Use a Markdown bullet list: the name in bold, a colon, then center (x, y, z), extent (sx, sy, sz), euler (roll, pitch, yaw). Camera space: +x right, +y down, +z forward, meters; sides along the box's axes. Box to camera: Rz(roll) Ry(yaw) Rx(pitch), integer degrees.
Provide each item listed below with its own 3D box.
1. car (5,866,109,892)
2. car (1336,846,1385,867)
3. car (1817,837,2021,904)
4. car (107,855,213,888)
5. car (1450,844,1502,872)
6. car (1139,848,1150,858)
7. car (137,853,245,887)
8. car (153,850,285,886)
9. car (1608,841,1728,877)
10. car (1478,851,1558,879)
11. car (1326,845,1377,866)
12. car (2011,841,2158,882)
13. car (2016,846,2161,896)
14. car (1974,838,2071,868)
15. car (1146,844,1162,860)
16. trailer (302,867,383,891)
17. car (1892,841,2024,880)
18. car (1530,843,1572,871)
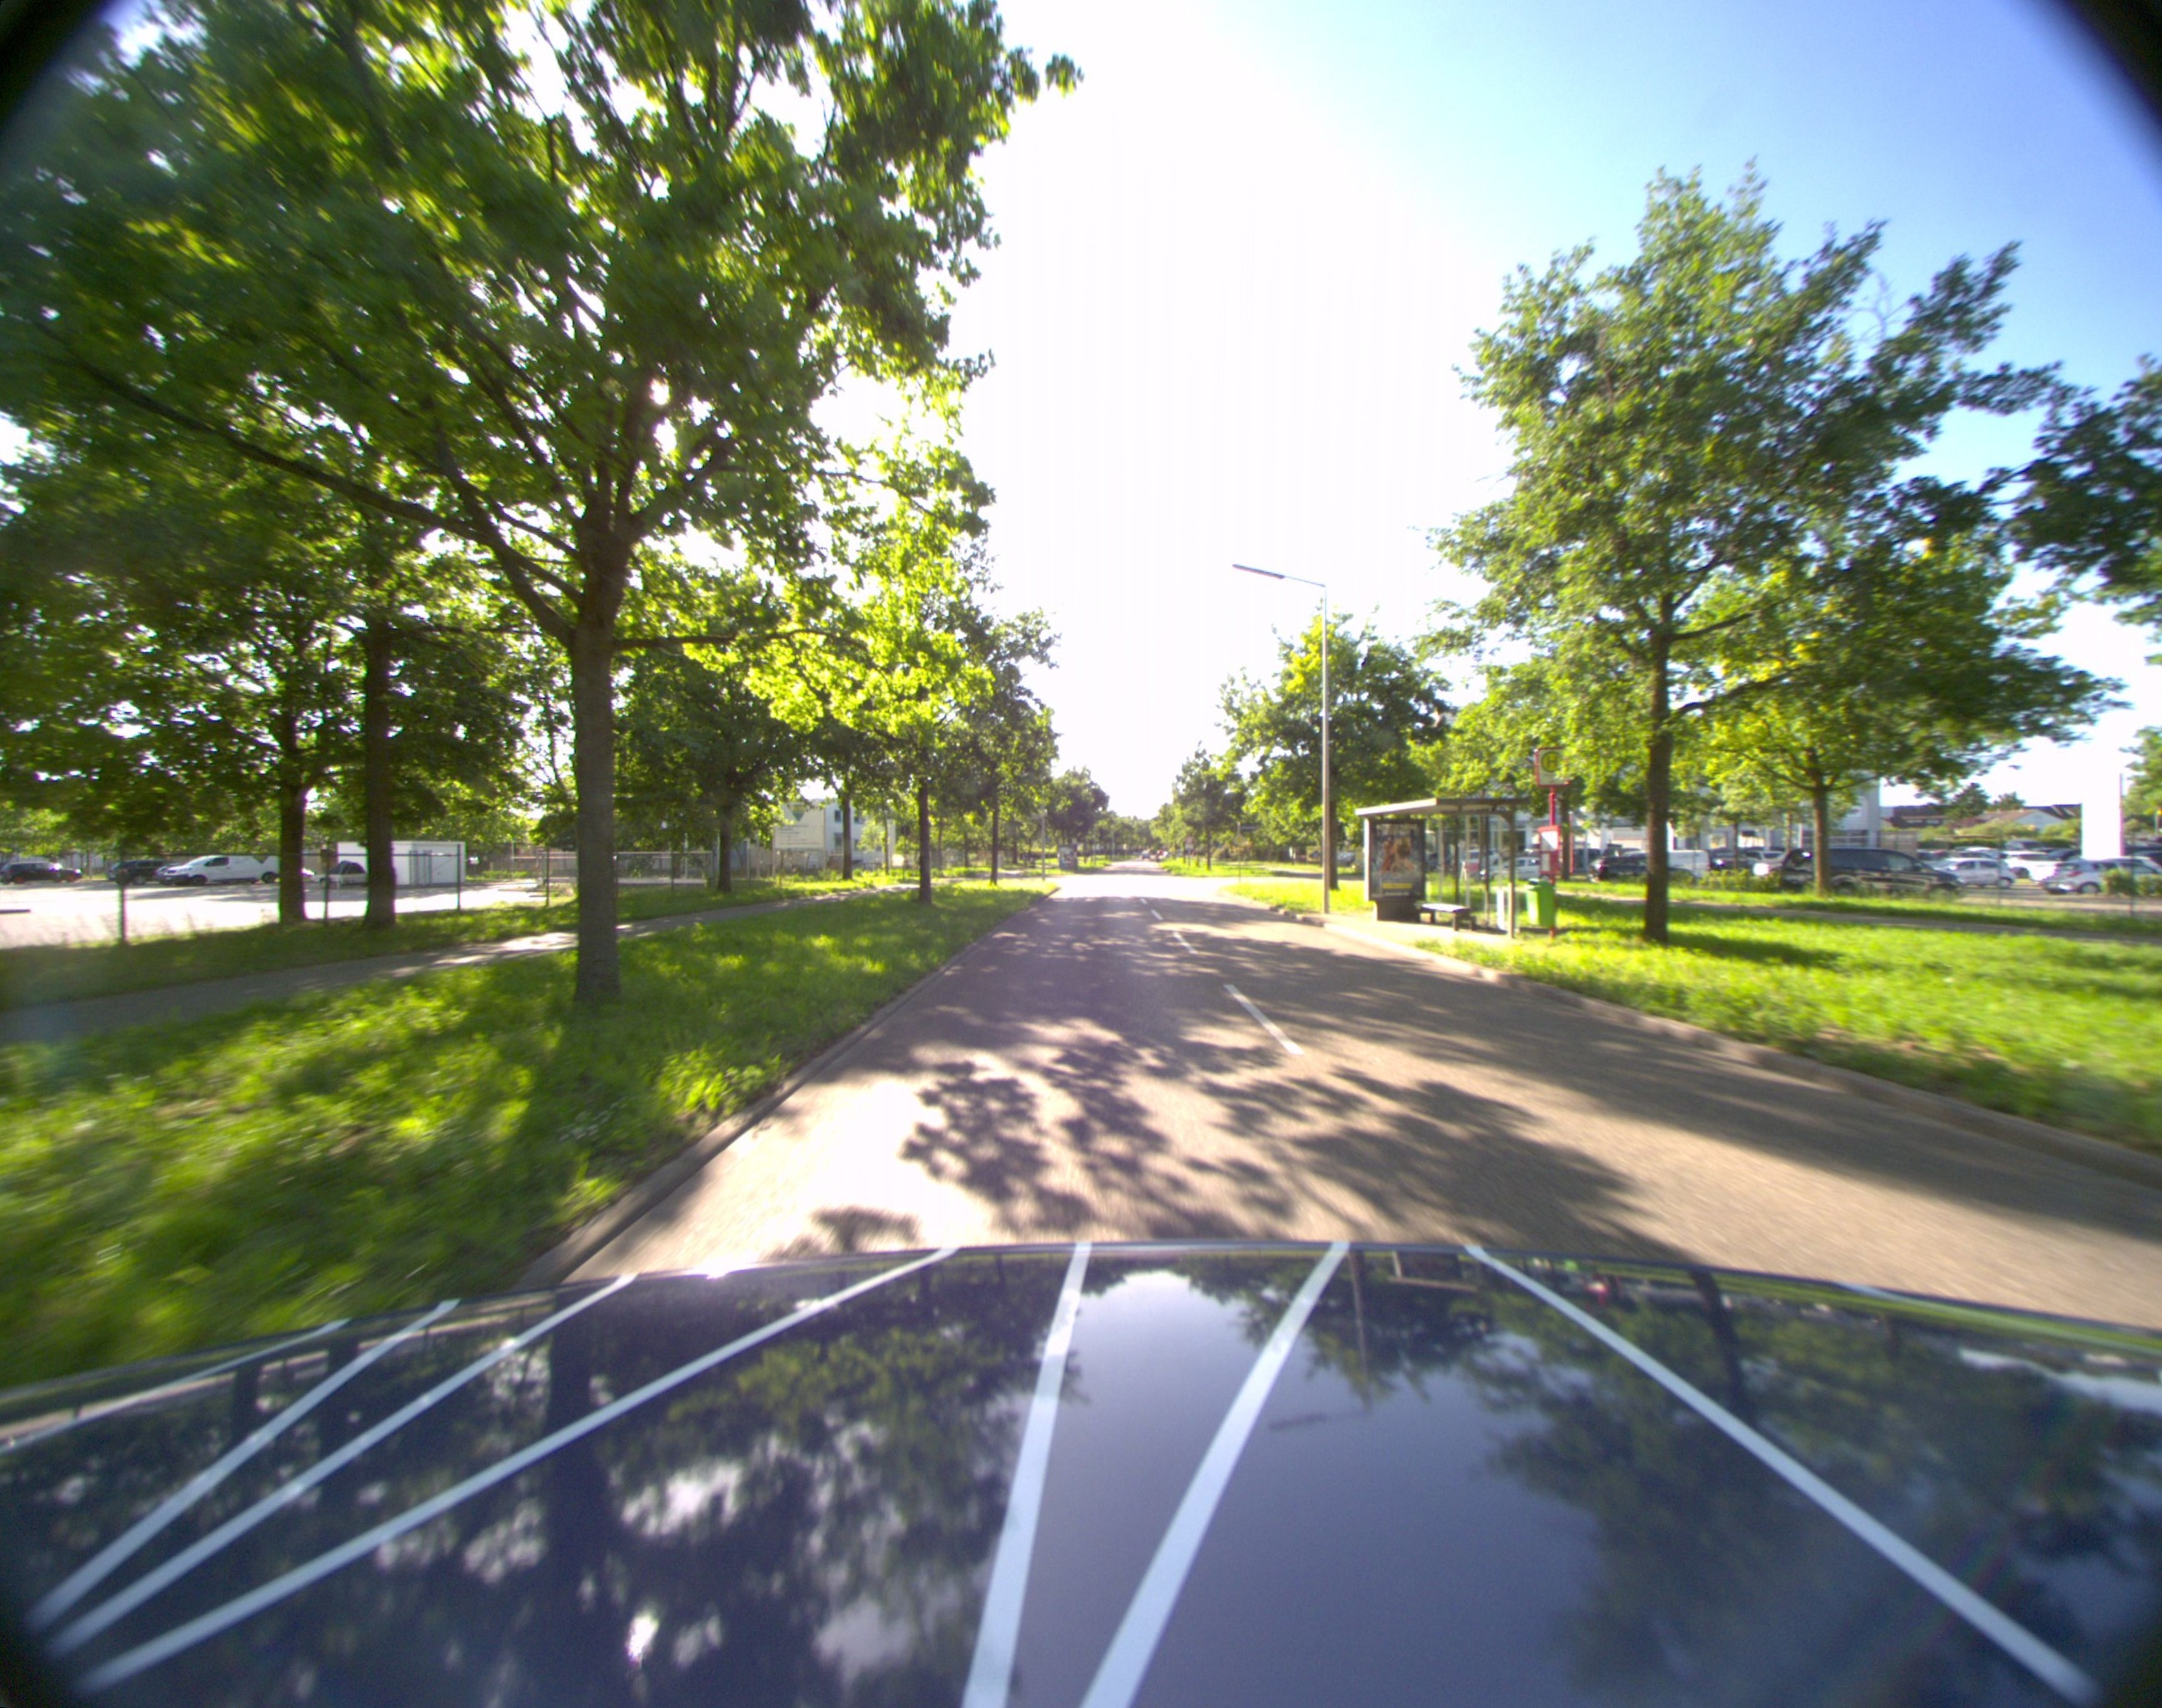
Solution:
- **car**: center (-73.853, 1.775, 54.891), extent (1.895, 1.605, 4.005), euler (-2, 1, 19)
- **car**: center (26.108, 0.221, 70.961), extent (4.004, 1.827, 1.996), euler (-3, 1, -23)
- **car**: center (26.695, 0.501, 24.440), extent (3.989, 2.002, 2.004), euler (0, 1, 30)
- **car**: center (-61.773, 1.144, 51.055), extent (1.996, 2.002, 4.005), euler (-2, 1, 19)
- **car**: center (29.219, 0.293, 56.136), extent (4.007, 1.827, 1.995), euler (-3, 1, -40)
- **car**: center (12.962, -0.150, 155.280), extent (1.997, 2.002, 4.002), euler (-1, 0, 7)
- **car**: center (-57.808, 1.007, 49.464), extent (1.996, 2.002, 4.005), euler (-2, 1, 19)
- **car**: center (-54.874, 0.833, 48.541), extent (1.996, 2.002, 5.121), euler (-2, 1, 17)
- **car**: center (33.194, 0.282, 43.176), extent (5.039, 1.827, 2.003), euler (-2, 1, 23)
- **car**: center (26.096, 0.638, 45.503), extent (3.885, 1.493, 2.003), euler (-2, 1, 21)
- **car**: center (24.054, 0.130, 67.661), extent (4.004, 1.827, 1.996), euler (-1, 1, -23)
- **car**: center (49.816, 0.356, 37.839), extent (3.992, 1.827, 2.002), euler (-2, 1, 18)
- **car**: center (41.339, 0.687, 30.756), extent (3.992, 1.827, 2.002), euler (-2, 1, 16)
- **car**: center (57.579, -0.120, 46.594), extent (1.996, 1.672, 4.005), euler (-2, 1, 21)
- **car**: center (9.521, -0.249, 98.512), extent (1.997, 2.002, 4.002), euler (-1, 0, 7)
- **trailer**: center (-41.873, 1.398, 43.097), extent (3.589, 1.259, 1.733), euler (-1, 1, 17)
- **car**: center (45.240, 0.349, 39.303), extent (3.992, 1.827, 2.002), euler (-2, 1, 18)
- **car**: center (33.506, 0.180, 54.113), extent (1.994, 1.827, 4.007), euler (-1, 1, 39)
